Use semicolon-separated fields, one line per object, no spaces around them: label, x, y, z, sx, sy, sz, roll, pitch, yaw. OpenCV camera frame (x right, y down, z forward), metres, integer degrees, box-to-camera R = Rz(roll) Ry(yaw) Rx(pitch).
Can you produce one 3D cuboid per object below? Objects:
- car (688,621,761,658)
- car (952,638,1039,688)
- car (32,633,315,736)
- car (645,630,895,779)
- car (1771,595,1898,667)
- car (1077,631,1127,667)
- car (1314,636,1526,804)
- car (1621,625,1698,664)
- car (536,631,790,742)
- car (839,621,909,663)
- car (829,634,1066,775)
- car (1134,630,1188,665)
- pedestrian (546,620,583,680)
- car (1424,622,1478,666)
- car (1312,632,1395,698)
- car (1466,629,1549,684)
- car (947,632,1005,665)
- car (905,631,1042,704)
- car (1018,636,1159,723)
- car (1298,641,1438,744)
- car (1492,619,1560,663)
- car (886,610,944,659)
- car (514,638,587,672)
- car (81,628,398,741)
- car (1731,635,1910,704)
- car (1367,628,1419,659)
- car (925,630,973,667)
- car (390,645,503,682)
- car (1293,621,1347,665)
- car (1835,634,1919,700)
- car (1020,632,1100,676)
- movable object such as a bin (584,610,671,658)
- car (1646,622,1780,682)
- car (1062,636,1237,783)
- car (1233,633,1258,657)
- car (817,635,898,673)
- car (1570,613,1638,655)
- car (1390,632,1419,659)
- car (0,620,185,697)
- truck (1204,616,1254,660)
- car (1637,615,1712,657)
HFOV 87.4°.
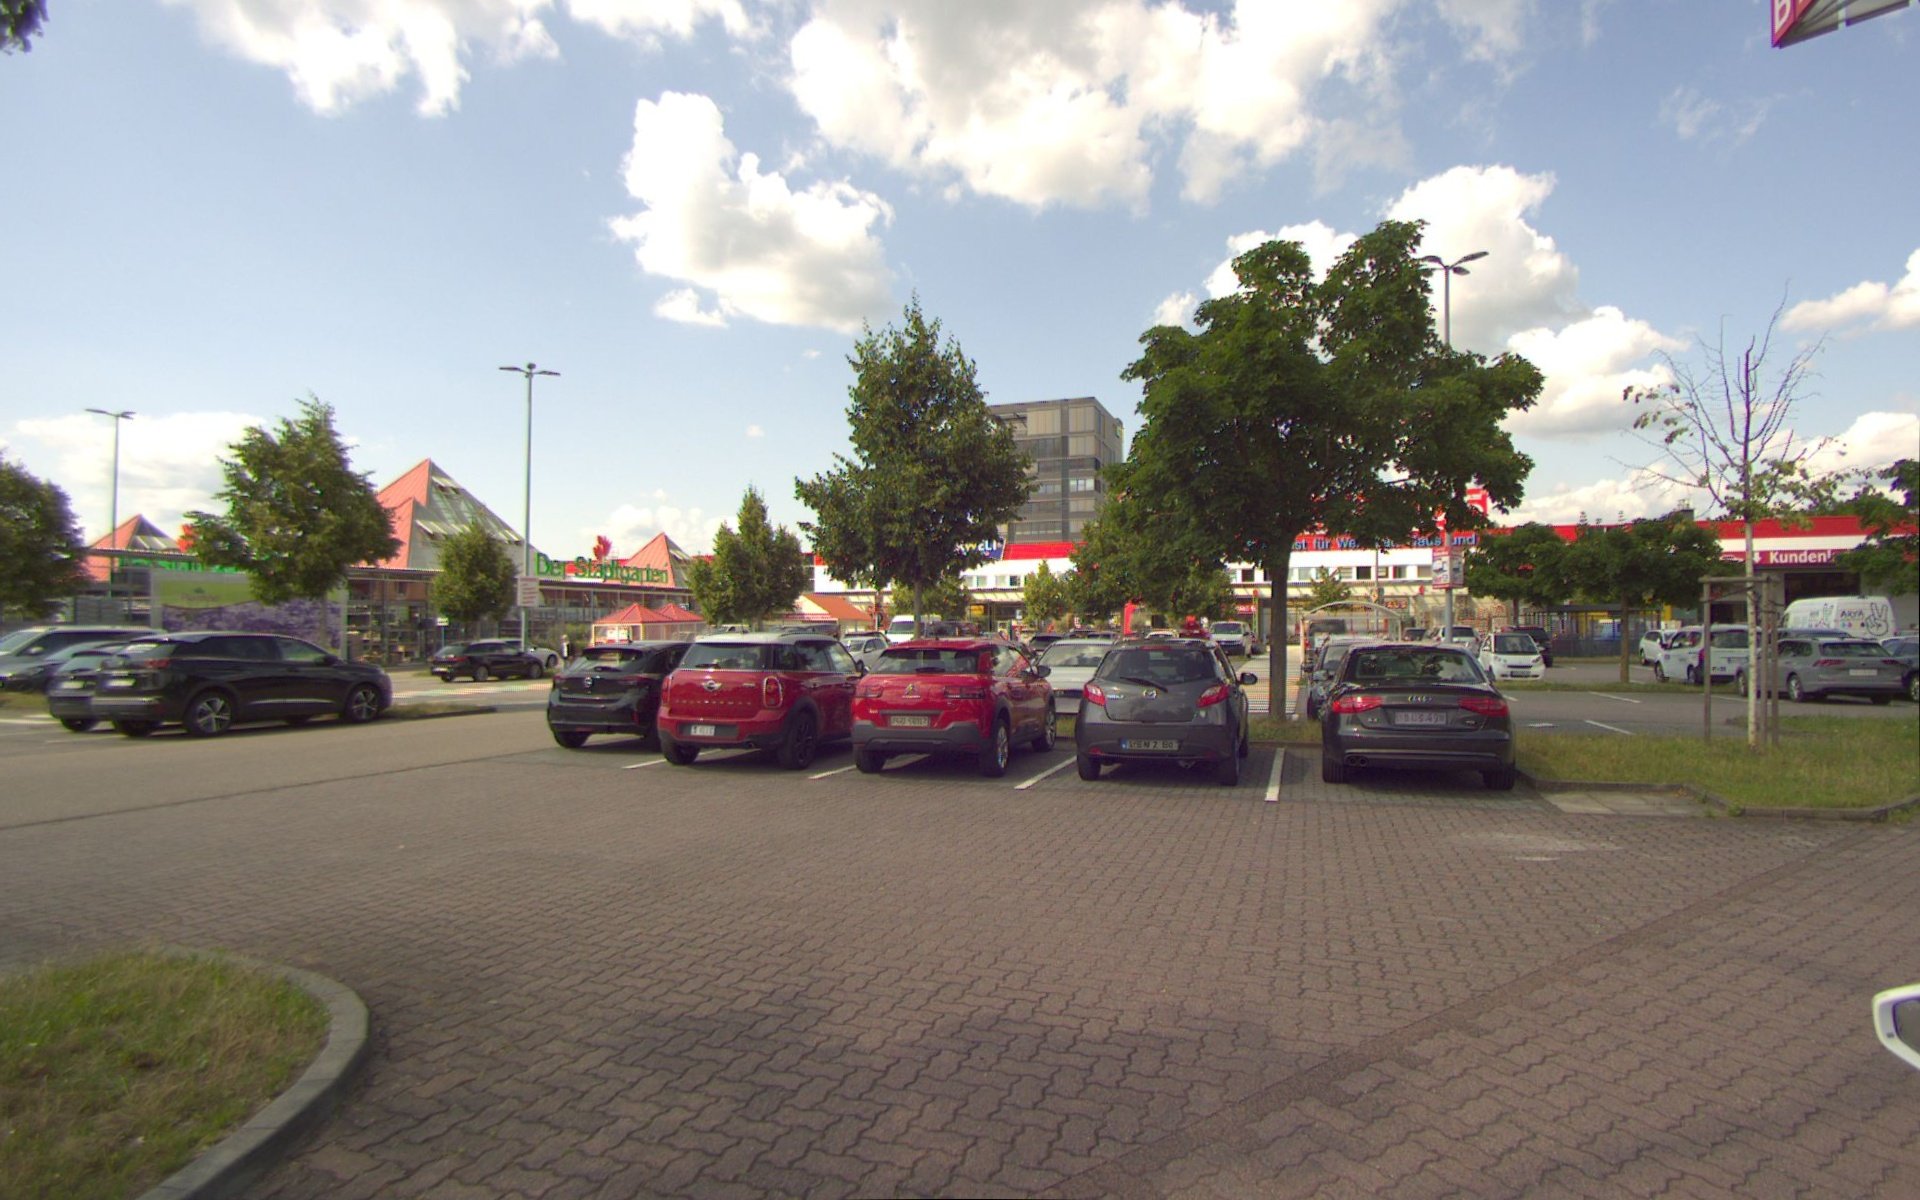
car;-14.324;2.416;61.423;1.960;2.040;4.809;3;-1;19
car;1.158;1.855;30.568;1.709;1.381;4.254;-1;-2;16
car;-13.964;1.423;18.118;1.748;1.646;3.709;-1;-2;14
car;-2.224;1.183;12.690;1.676;1.602;3.448;-1;-2;17
car;32.928;1.133;37.994;2.012;2.543;4.729;0;-1;20
car;6.633;2.257;46.714;1.694;1.528;3.238;3;-1;18
car;4.928;1.144;11.253;1.737;1.451;4.543;-1;-2;20
car;28.074;1.763;40.396;1.512;1.424;3.627;3;-1;18
car;-4.137;1.154;14.702;1.694;1.387;3.885;-1;-2;17
car;-4.279;2.123;50.786;1.961;2.040;3.999;-1;-2;22
car;0.047;1.132;12.352;1.731;1.417;4.090;-1;-2;17
car;9.278;2.136;46.156;1.960;1.528;4.002;-1;-2;18
pedestrian;-13.771;1.739;35.015;0.801;2.040;0.915;-1;-2;18
car;20.640;1.835;42.335;1.570;1.766;3.168;-2;-2;18
car;10.599;1.702;27.255;1.717;1.636;3.727;-1;-2;16
car;17.300;1.752;31.887;1.686;1.617;4.001;-1;-2;20
car;0.938;2.626;54.816;1.960;1.652;4.001;3;-1;19
car;0.388;1.382;21.460;1.788;1.300;3.893;3;-1;18
car;2.453;1.339;18.194;1.856;1.370;4.283;-1;-2;17
car;6.662;1.429;16.773;1.758;1.369;4.068;3;-1;17
car;23.068;1.663;41.060;1.730;1.545;3.470;-2;1;18
car;-2.563;1.999;58.317;2.194;2.671;4.332;0;-2;15
car;-19.165;2.558;47.124;1.433;1.440;2.989;3;-1;21
car;-11.813;1.301;16.850;1.748;1.646;4.086;-1;-2;17
car;19.872;1.553;23.402;1.690;1.465;3.775;-1;-2;15
car;20.353;2.031;47.326;1.707;1.357;3.468;3;-1;15
car;-0.510;2.332;48.777;1.662;1.635;2.659;3;-1;15
car;-18.223;2.273;35.719;1.524;1.235;3.254;-4;-6;40
car;15.526;1.836;43.502;1.960;1.802;4.002;-1;-2;17
car;22.535;1.524;23.277;1.791;1.458;4.093;-1;-2;15
car;3.721;1.926;36.665;1.960;1.487;4.417;-1;-2;19
movable object such as a bin;-18.682;1.925;56.771;2.087;2.526;5.340;-1;-2;14
car;21.869;1.489;29.364;1.872;1.617;4.001;-1;-2;18
car;2.365;1.127;11.760;1.548;1.387;4.002;-1;-2;17
car;17.559;2.762;61.857;1.362;1.416;3.401;-1;-2;14
car;-3.951;2.083;39.335;1.710;1.404;3.561;-1;-2;22
car;34.217;1.792;53.494;1.960;2.040;4.002;3;-1;17
car;25.923;2.630;58.625;1.139;1.443;2.539;3;-1;15
car;-25.736;1.634;28.894;1.961;2.040;5.188;-1;-2;19
truck;13.871;1.953;51.638;1.824;2.040;5.408;2;-1;21
car;37.092;1.857;52.272;1.960;2.040;4.002;1;-2;17
